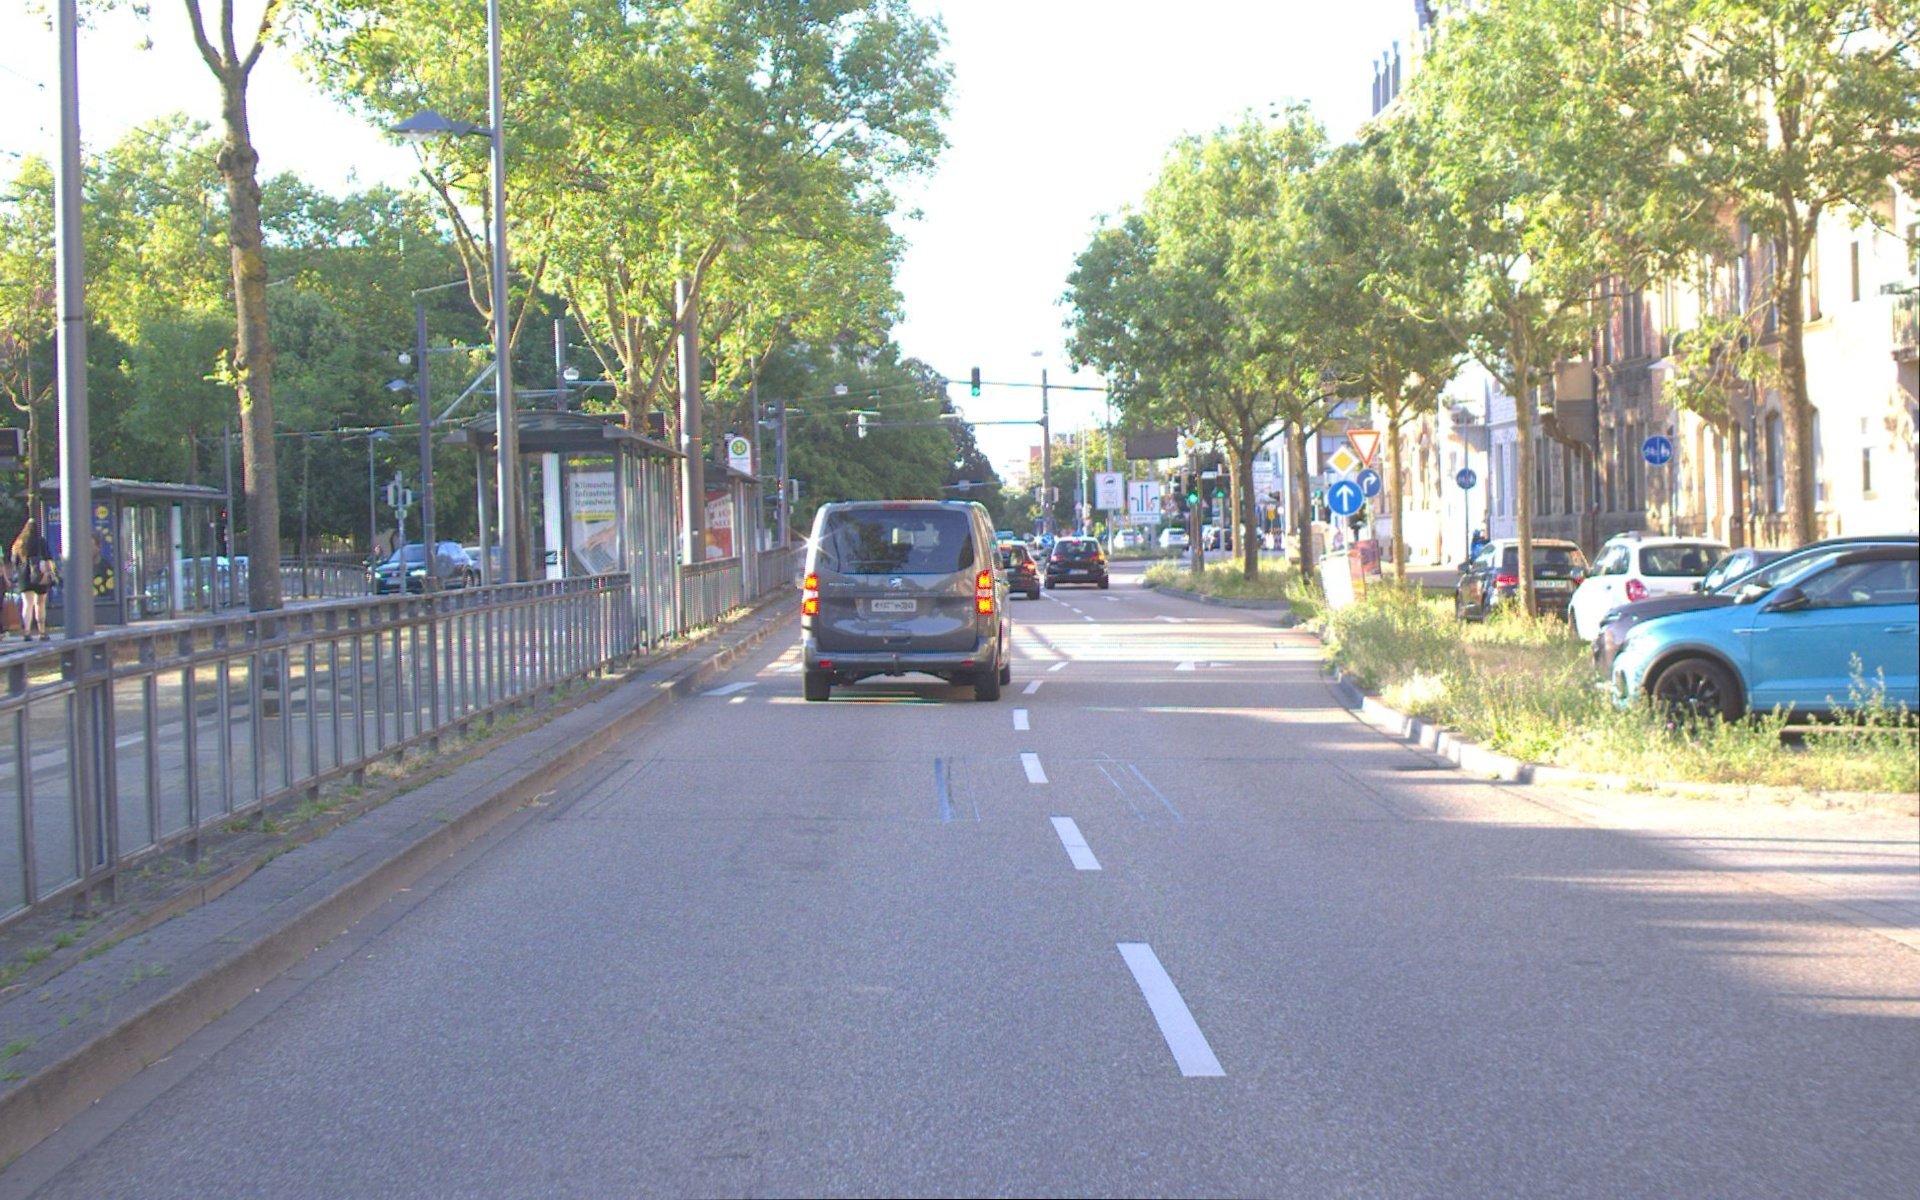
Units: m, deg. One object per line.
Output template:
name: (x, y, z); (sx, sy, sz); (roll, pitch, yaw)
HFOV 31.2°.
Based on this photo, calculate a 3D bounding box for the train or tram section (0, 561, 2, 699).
train or tram section: (-11.252, -0.558, 27.450); (3.431, 3.328, 13.858); (-1, 1, -1)

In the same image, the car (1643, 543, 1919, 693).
car: (8.809, 0.145, 36.695); (1.945, 1.440, 4.909); (2, 1, -1)

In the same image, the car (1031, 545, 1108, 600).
car: (3.071, -0.805, 97.520); (1.993, 1.505, 4.000); (0, 1, -1)

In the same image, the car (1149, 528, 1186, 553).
car: (14.057, -4.052, 232.990); (1.993, 1.651, 4.300); (-1, 1, -3)

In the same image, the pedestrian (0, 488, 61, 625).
pedestrian: (-13.957, -0.647, 51.220); (0.770, 2.007, 1.127); (-1, 1, 2)

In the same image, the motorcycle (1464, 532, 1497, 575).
motorcycle: (14.756, -1.329, 97.517); (0.553, 1.210, 2.073); (0, 1, -2)

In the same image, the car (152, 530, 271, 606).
car: (-17.134, -0.753, 78.896); (1.859, 1.648, 4.000); (-1, 1, -1)

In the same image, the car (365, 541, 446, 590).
car: (-16.586, -1.045, 103.008); (1.794, 1.410, 4.341); (0, 1, -1)

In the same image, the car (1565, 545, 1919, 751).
car: (7.070, 0.341, 26.718); (4.281, 1.517, 1.844); (0, 1, 32)

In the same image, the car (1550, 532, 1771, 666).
car: (8.538, -0.059, 42.225); (1.725, 1.507, 4.273); (2, 1, -1)

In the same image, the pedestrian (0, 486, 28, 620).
pedestrian: (-14.726, -0.708, 52.213); (0.770, 2.007, 1.127); (-1, 1, 2)

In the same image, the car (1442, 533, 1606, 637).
car: (8.432, -0.250, 51.688); (1.704, 1.443, 4.289); (2, 1, 0)

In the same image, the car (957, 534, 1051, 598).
car: (1.041, -0.845, 83.562); (1.993, 1.505, 4.001); (0, 1, -3)

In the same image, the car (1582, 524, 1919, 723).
car: (7.692, 0.175, 29.117); (4.334, 1.566, 1.998); (2, 2, 29)

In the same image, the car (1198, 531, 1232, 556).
car: (17.102, -3.797, 230.665); (1.993, 1.651, 4.299); (-1, 1, 1)

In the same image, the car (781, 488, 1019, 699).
car: (-0.512, -0.094, 33.466); (1.994, 1.894, 4.299); (1, 1, 3)

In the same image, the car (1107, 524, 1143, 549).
car: (11.281, -4.302, 234.917); (1.993, 1.651, 4.300); (-1, 1, -3)

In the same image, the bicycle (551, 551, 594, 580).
bicycle: (-15.595, -1.402, 138.417); (1.717, 1.138, 0.559); (-2, 2, -42)
